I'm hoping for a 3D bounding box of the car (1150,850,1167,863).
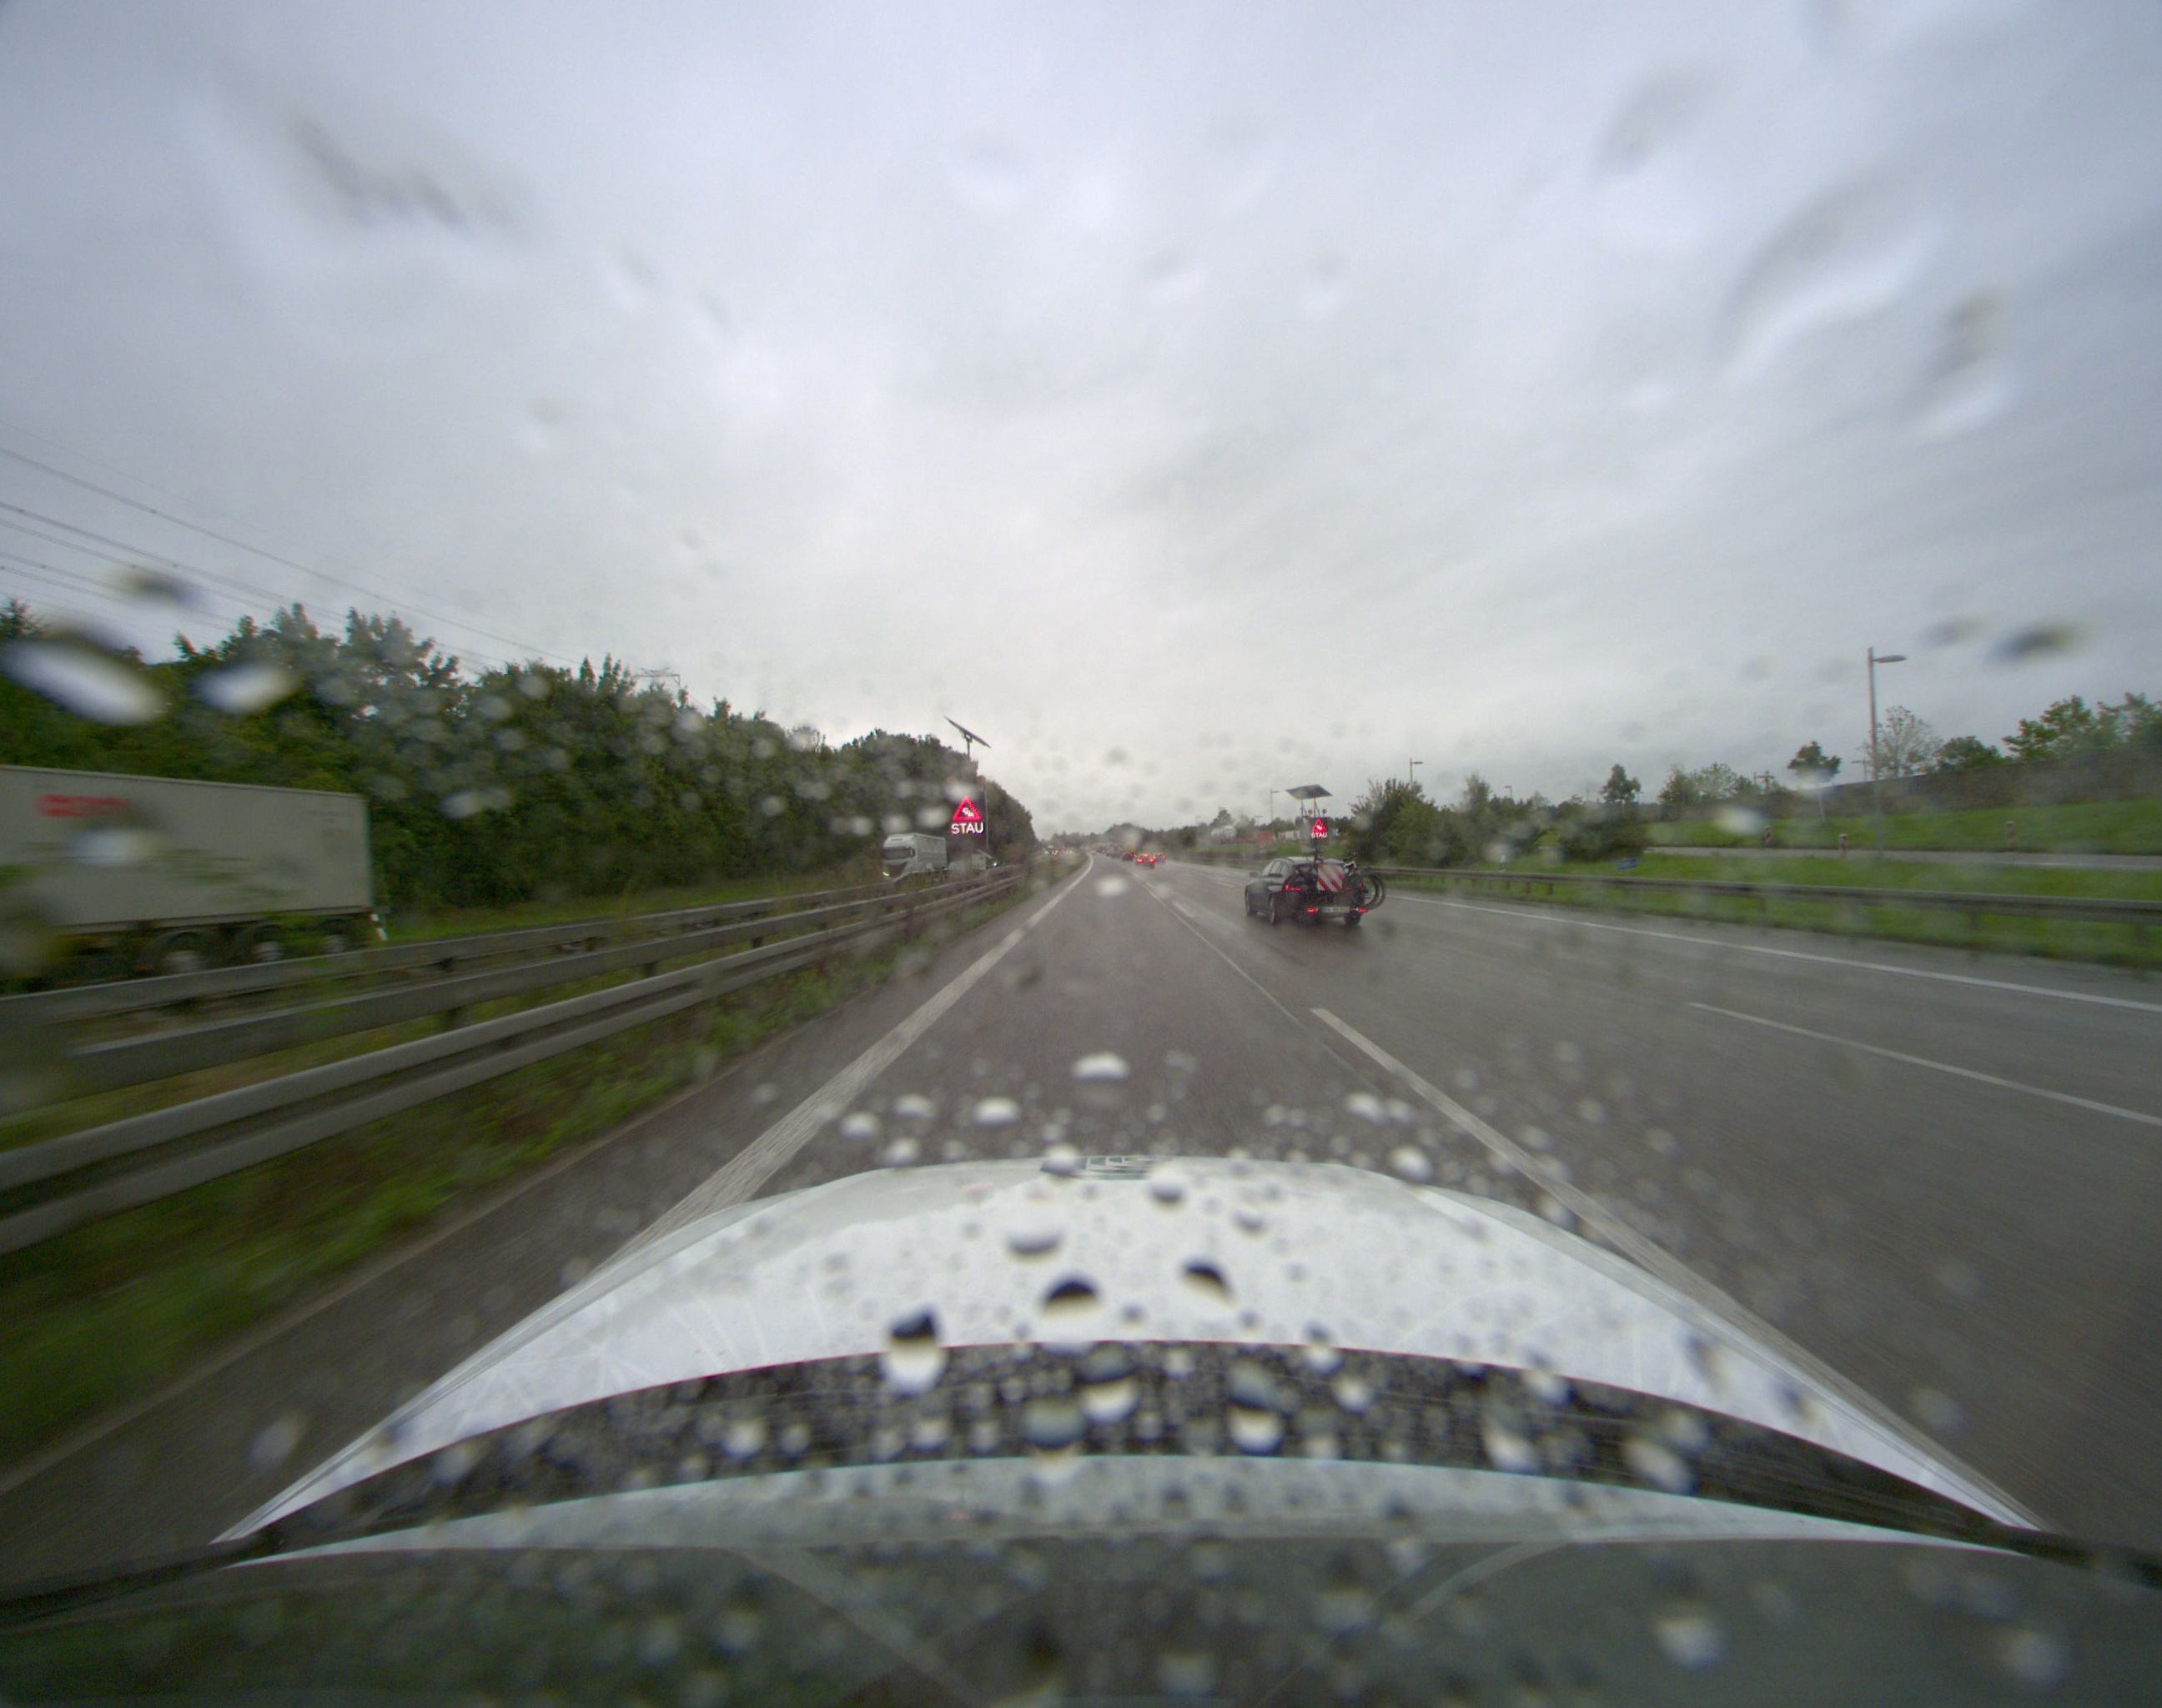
[{"bbox_3d":[10.985,0.380,115.739,1.986,1.761,4.001,-3,0,1],"label":"car"}]

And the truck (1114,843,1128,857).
[{"bbox_3d":[12.390,-1.228,252.102,3.910,3.981,12.243,-3,0,1],"label":"truck"}]

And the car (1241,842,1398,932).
[{"bbox_3d":[5.004,0.660,18.024,2.050,1.671,5.524,-1,-1,2],"label":"car"}]

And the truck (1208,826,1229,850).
[{"bbox_3d":[24.962,-2.796,148.157,2.938,4.145,4.924,-3,0,2],"label":"truck"}]

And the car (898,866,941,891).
[{"bbox_3d":[-11.113,1.628,56.281,1.867,1.493,4.516,-3,0,2],"label":"car"}]

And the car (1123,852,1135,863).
[{"bbox_3d":[8.155,0.585,138.657,1.986,1.628,4.001,-3,0,1],"label":"car"}]

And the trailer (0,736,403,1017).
[{"bbox_3d":[-16.892,0.401,13.751,2.752,4.055,9.203,-4,0,1],"label":"trailer"}]

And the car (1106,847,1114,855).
[{"bbox_3d":[8.327,-0.775,233.931,1.986,2.205,4.001,-3,0,1],"label":"car"}]

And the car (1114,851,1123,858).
[{"bbox_3d":[8.221,0.112,179.103,1.986,1.628,4.001,-3,0,1],"label":"car"}]

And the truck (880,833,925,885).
[{"bbox_3d":[-15.279,0.372,69.926,2.634,4.237,4.002,-2,0,2],"label":"truck"}]

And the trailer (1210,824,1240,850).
[{"bbox_3d":[24.773,-2.813,140.914,2.974,4.156,12.959,-3,0,1],"label":"trailer"}]

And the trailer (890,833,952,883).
[{"bbox_3d":[-15.005,0.340,77.720,2.633,4.237,13.917,-2,0,2],"label":"trailer"}]

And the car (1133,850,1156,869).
[{"bbox_3d":[6.375,0.541,81.774,1.986,1.761,4.001,-3,0,1],"label":"car"}]

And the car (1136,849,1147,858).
[{"bbox_3d":[12.444,-0.089,167.975,1.986,1.628,4.001,-3,0,1],"label":"car"}]

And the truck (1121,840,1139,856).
[{"bbox_3d":[12.504,-1.482,207.747,3.910,3.981,12.243,-3,0,1],"label":"truck"}]
